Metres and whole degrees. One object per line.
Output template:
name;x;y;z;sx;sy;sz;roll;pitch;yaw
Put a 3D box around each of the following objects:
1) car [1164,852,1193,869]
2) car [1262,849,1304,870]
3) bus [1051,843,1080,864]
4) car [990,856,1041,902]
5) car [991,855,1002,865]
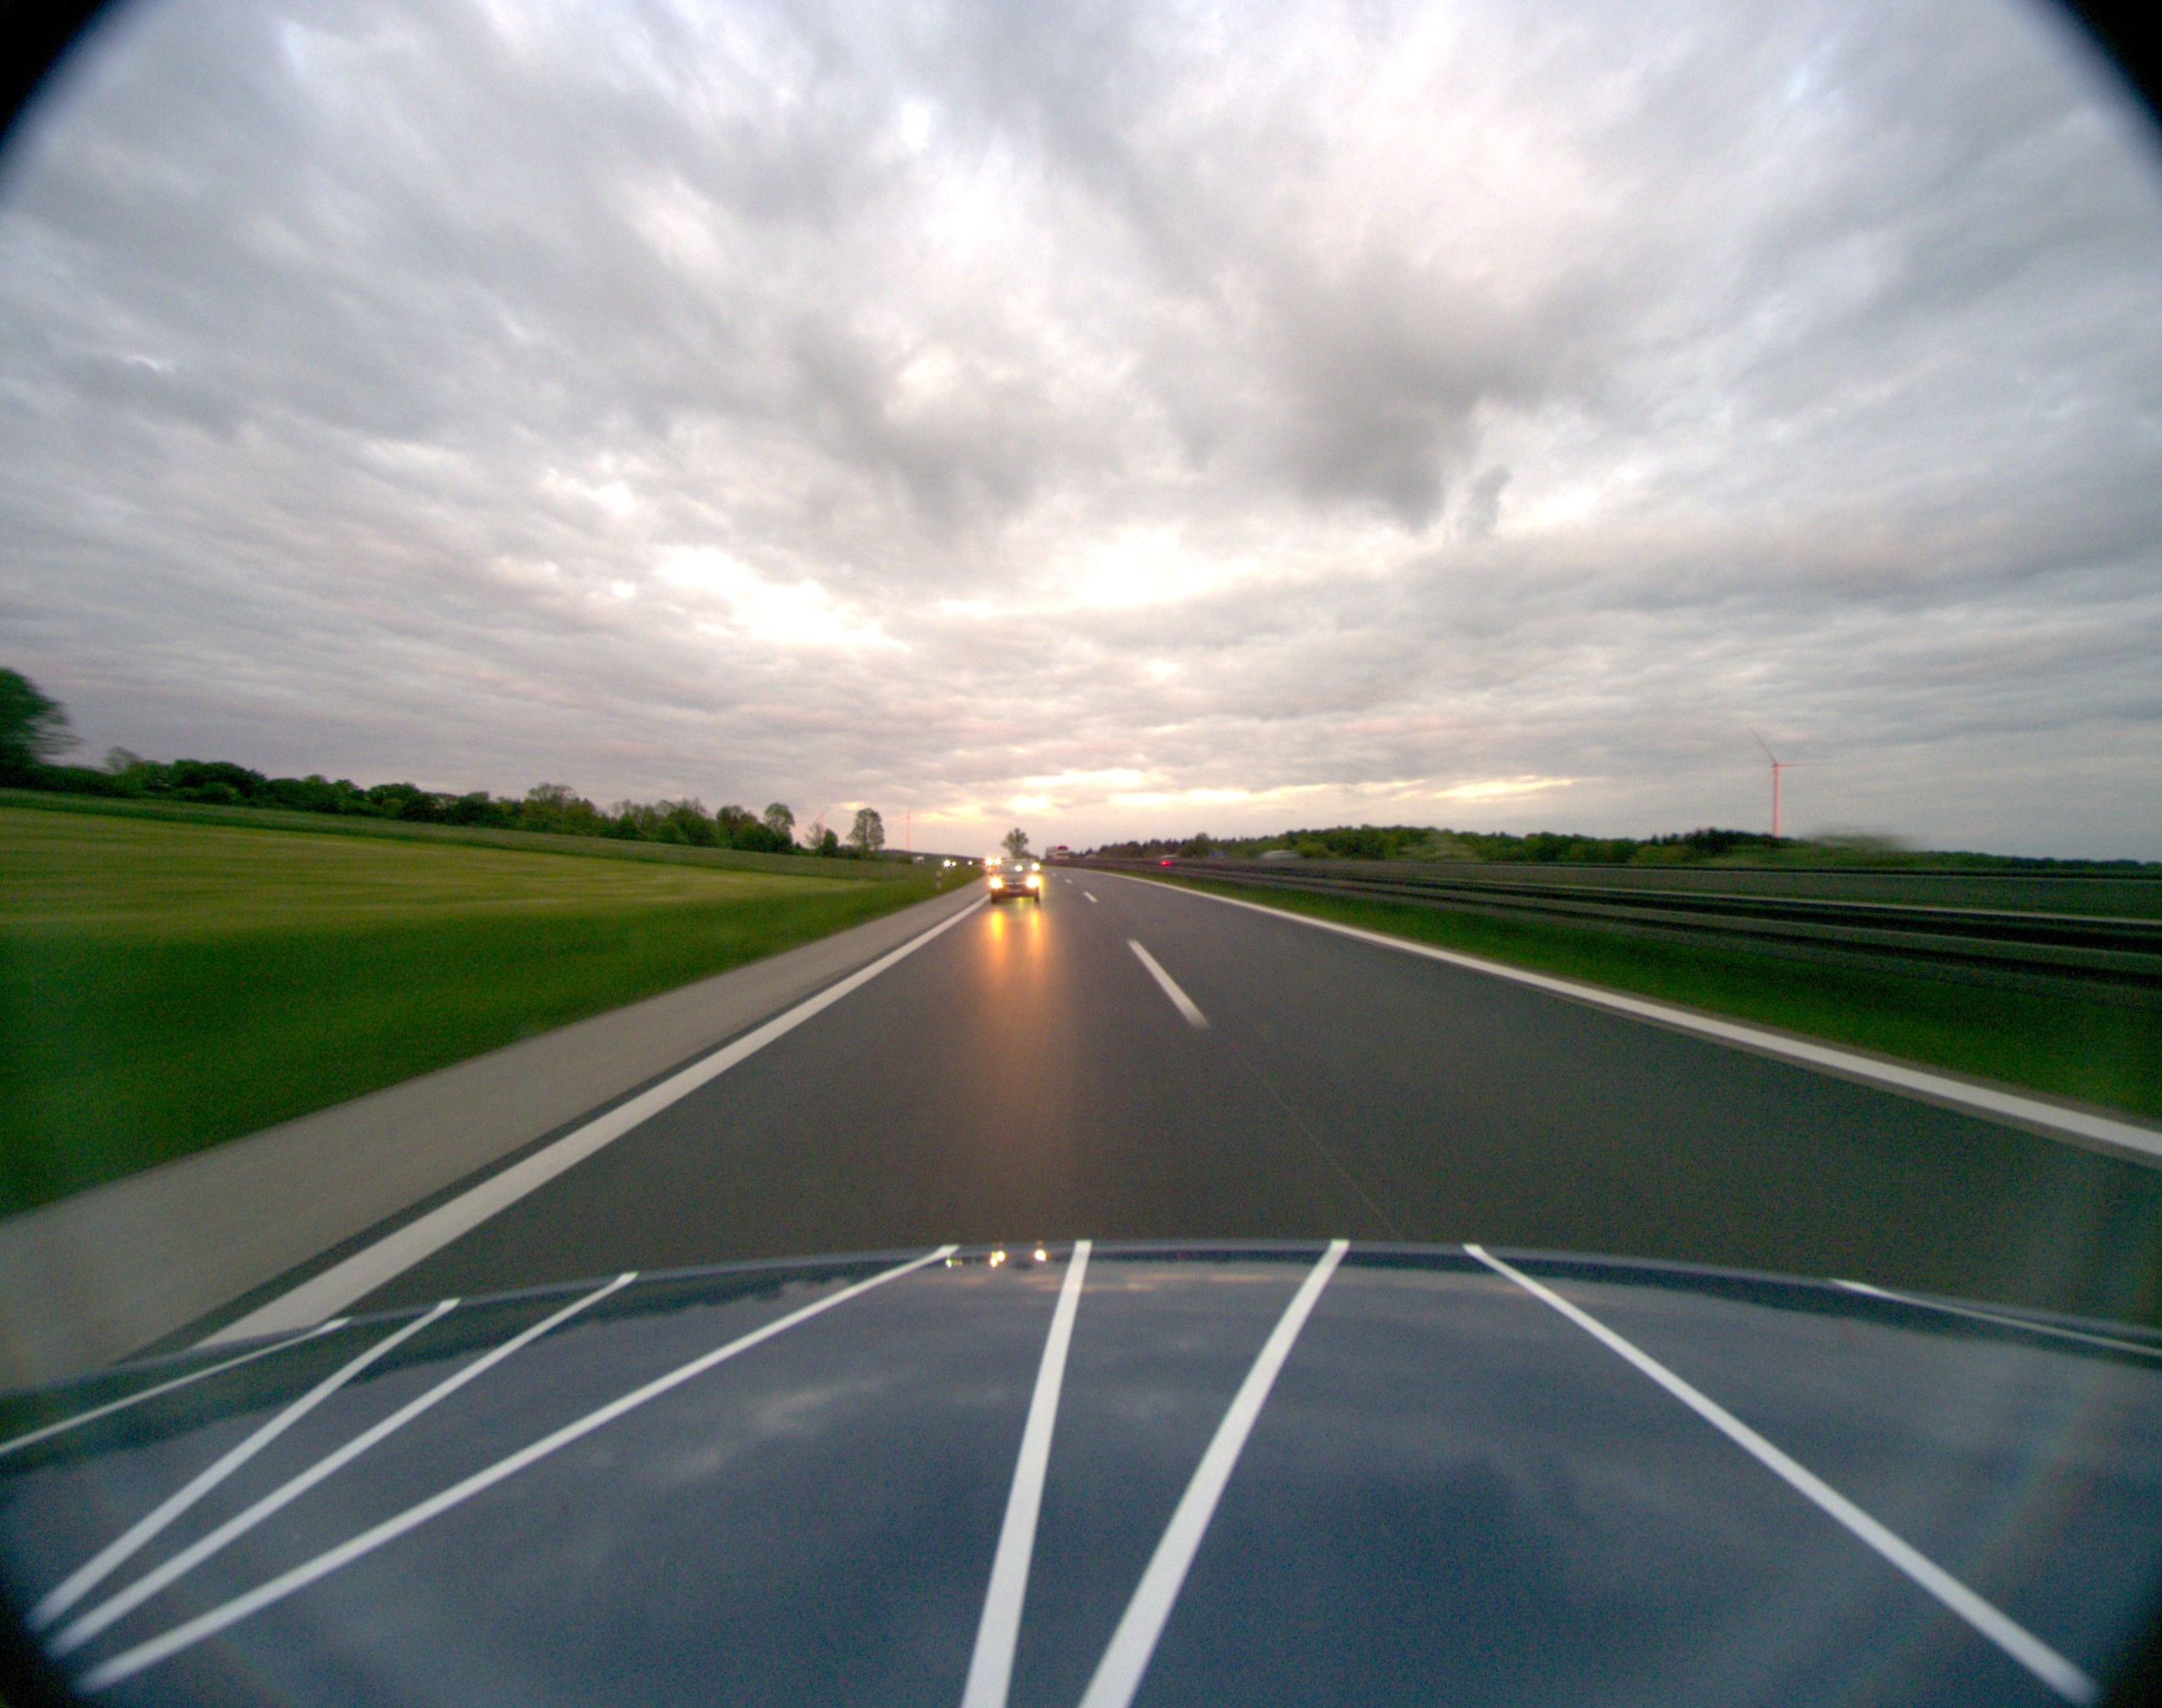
car;8.195;0.516;64.186;1.610;1.385;4.246;0;0;-4
car;13.078;0.355;49.364;1.587;1.280;3.495;2;0;-3
bus;-3.486;-0.111;163.069;3.177;4.052;14.793;-3;1;-12
car;-2.328;0.845;27.640;1.682;1.504;3.999;-2;0;-3
car;-15.381;1.045;138.266;1.921;1.827;3.996;0;0;-9
